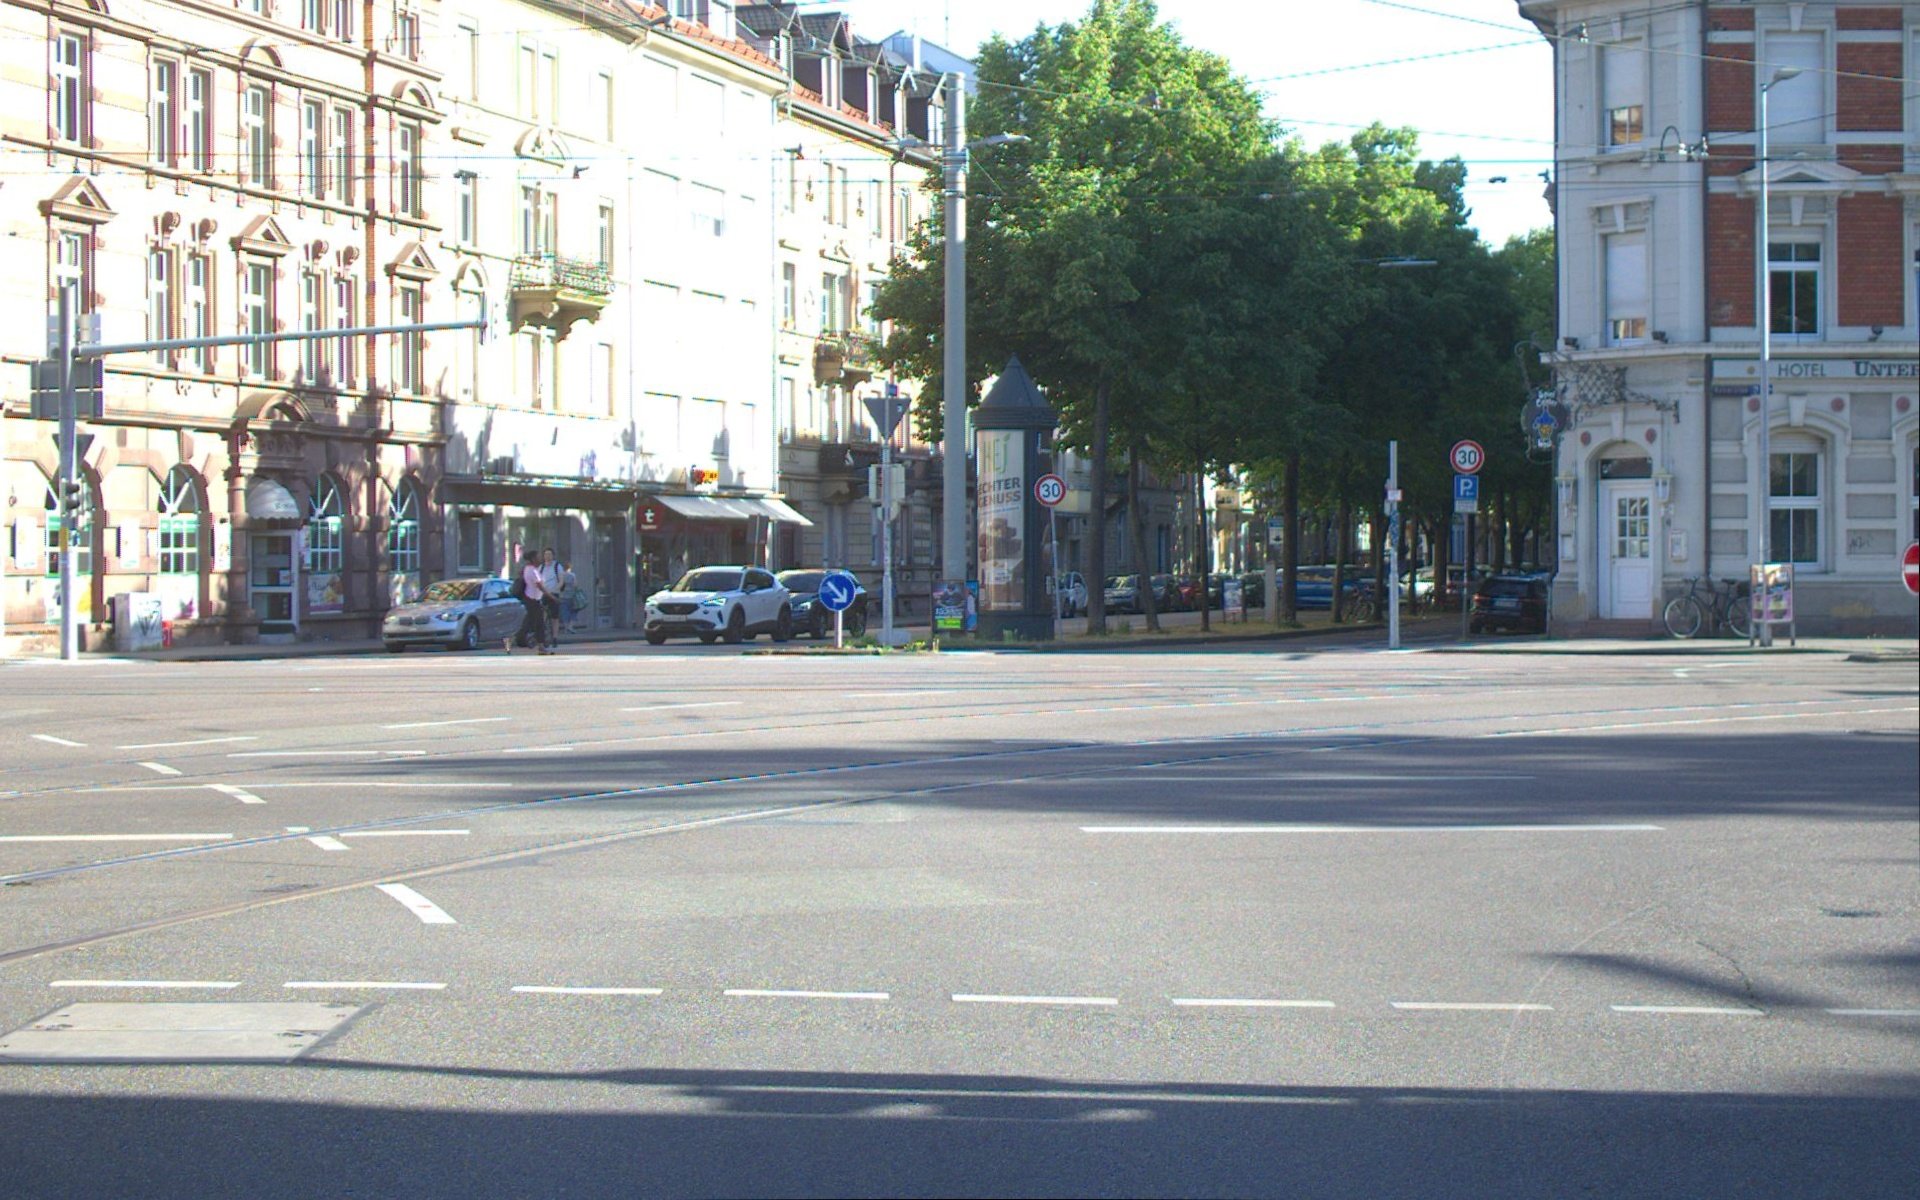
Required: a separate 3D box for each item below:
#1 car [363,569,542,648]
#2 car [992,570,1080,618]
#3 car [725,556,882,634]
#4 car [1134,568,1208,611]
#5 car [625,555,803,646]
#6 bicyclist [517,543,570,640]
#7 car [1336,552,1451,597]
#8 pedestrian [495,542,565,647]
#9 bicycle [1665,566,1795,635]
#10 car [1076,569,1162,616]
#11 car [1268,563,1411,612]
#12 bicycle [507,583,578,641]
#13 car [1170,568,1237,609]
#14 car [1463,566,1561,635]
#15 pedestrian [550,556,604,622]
[{"bbox_3d":[-9.855,0.149,67.059,1.900,1.450,3.997,0,1,17],"label":"car"},{"bbox_3d":[2.480,-0.216,110.973,1.995,1.481,3.998,0,1,14],"label":"car"},{"bbox_3d":[-3.321,-0.134,73.848,1.995,1.606,4.387,0,1,17],"label":"car"},{"bbox_3d":[8.025,-0.409,130.465,1.839,1.547,4.387,0,1,17],"label":"car"},{"bbox_3d":[-4.766,-0.017,67.334,1.995,1.678,4.387,0,1,17],"label":"car"},{"bbox_3d":[-7.881,-0.163,65.056,0.679,1.814,1.070,0,1,12],"label":"bicyclist"},{"bbox_3d":[16.853,-1.004,133.635,3.993,1.700,1.997,0,1,30],"label":"car"},{"bbox_3d":[-7.166,-0.098,57.253,1.046,1.738,0.809,0,1,-15],"label":"pedestrian"},{"bbox_3d":[12.855,0.010,57.401,2.085,1.120,0.367,1,0,-4],"label":"bicycle"},{"bbox_3d":[5.699,-0.291,122.675,1.995,1.607,4.387,0,1,17],"label":"car"},{"bbox_3d":[12.742,-0.433,115.428,4.382,1.606,1.997,0,1,27],"label":"car"},{"bbox_3d":[-7.891,0.217,65.020,0.680,1.062,2.124,0,1,12],"label":"bicycle"},{"bbox_3d":[9.690,-0.458,136.342,1.766,1.544,4.387,0,1,16],"label":"car"},{"bbox_3d":[13.265,-0.008,82.452,1.995,1.579,3.998,0,1,14],"label":"car"},{"bbox_3d":[-9.005,-0.259,80.828,0.929,1.530,1.136,0,1,14],"label":"pedestrian"}]
